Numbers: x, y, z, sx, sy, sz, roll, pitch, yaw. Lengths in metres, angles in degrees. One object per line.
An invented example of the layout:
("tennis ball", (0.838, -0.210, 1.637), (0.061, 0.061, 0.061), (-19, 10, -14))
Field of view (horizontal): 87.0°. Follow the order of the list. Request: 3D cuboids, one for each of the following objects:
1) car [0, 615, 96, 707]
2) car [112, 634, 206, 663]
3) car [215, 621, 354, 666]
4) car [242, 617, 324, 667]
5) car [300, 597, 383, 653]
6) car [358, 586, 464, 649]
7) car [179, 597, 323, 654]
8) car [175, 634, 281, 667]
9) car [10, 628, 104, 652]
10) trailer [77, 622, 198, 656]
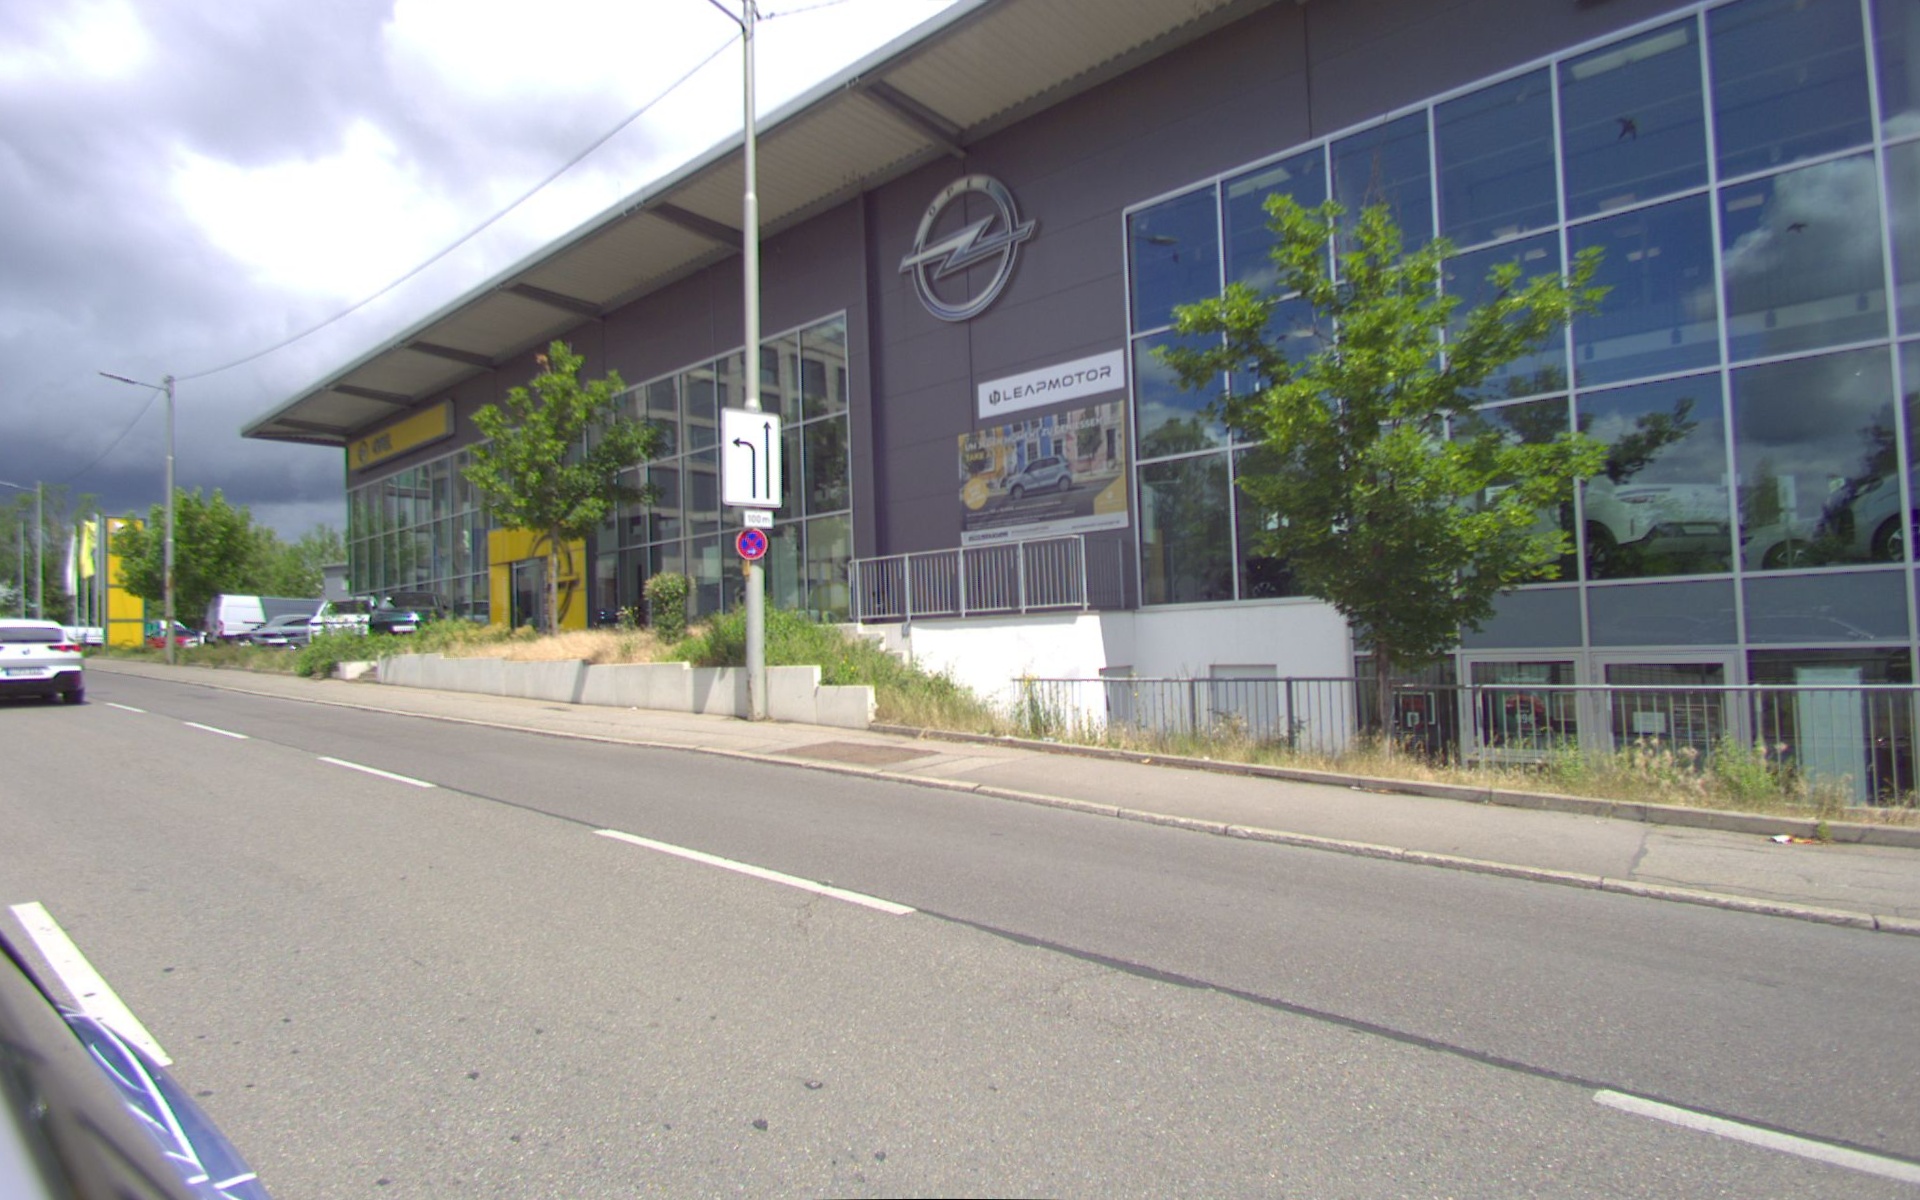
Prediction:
("car", (-17.840, 1.077, 18.852), (4.300, 1.564, 1.810), (-1, -2, 38))
("car", (-42.018, 2.510, 53.114), (1.814, 1.420, 3.621), (-2, -2, 42))
("car", (-25.732, 1.627, 38.687), (1.792, 1.625, 4.064), (-1, -2, 32))
("car", (-23.454, 1.431, 35.183), (1.767, 1.625, 4.122), (1, -2, -26))
("car", (-19.345, 0.770, 31.798), (1.767, 1.625, 4.122), (0, -1, -25))
("car", (-15.452, 0.510, 28.686), (1.791, 1.625, 4.120), (0, -2, -16))
("car", (-29.345, 1.046, 41.983), (2.177, 2.211, 4.475), (-1, -1, 39))
("car", (-35.525, 2.431, 49.177), (1.559, 1.539, 3.897), (-2, -2, 38))
("car", (-57.799, 2.536, 64.819), (2.093, 1.493, 4.200), (-2, -2, 38))
("trailer", (-45.075, 2.134, 55.565), (2.092, 1.765, 4.776), (-2, -2, 37))
